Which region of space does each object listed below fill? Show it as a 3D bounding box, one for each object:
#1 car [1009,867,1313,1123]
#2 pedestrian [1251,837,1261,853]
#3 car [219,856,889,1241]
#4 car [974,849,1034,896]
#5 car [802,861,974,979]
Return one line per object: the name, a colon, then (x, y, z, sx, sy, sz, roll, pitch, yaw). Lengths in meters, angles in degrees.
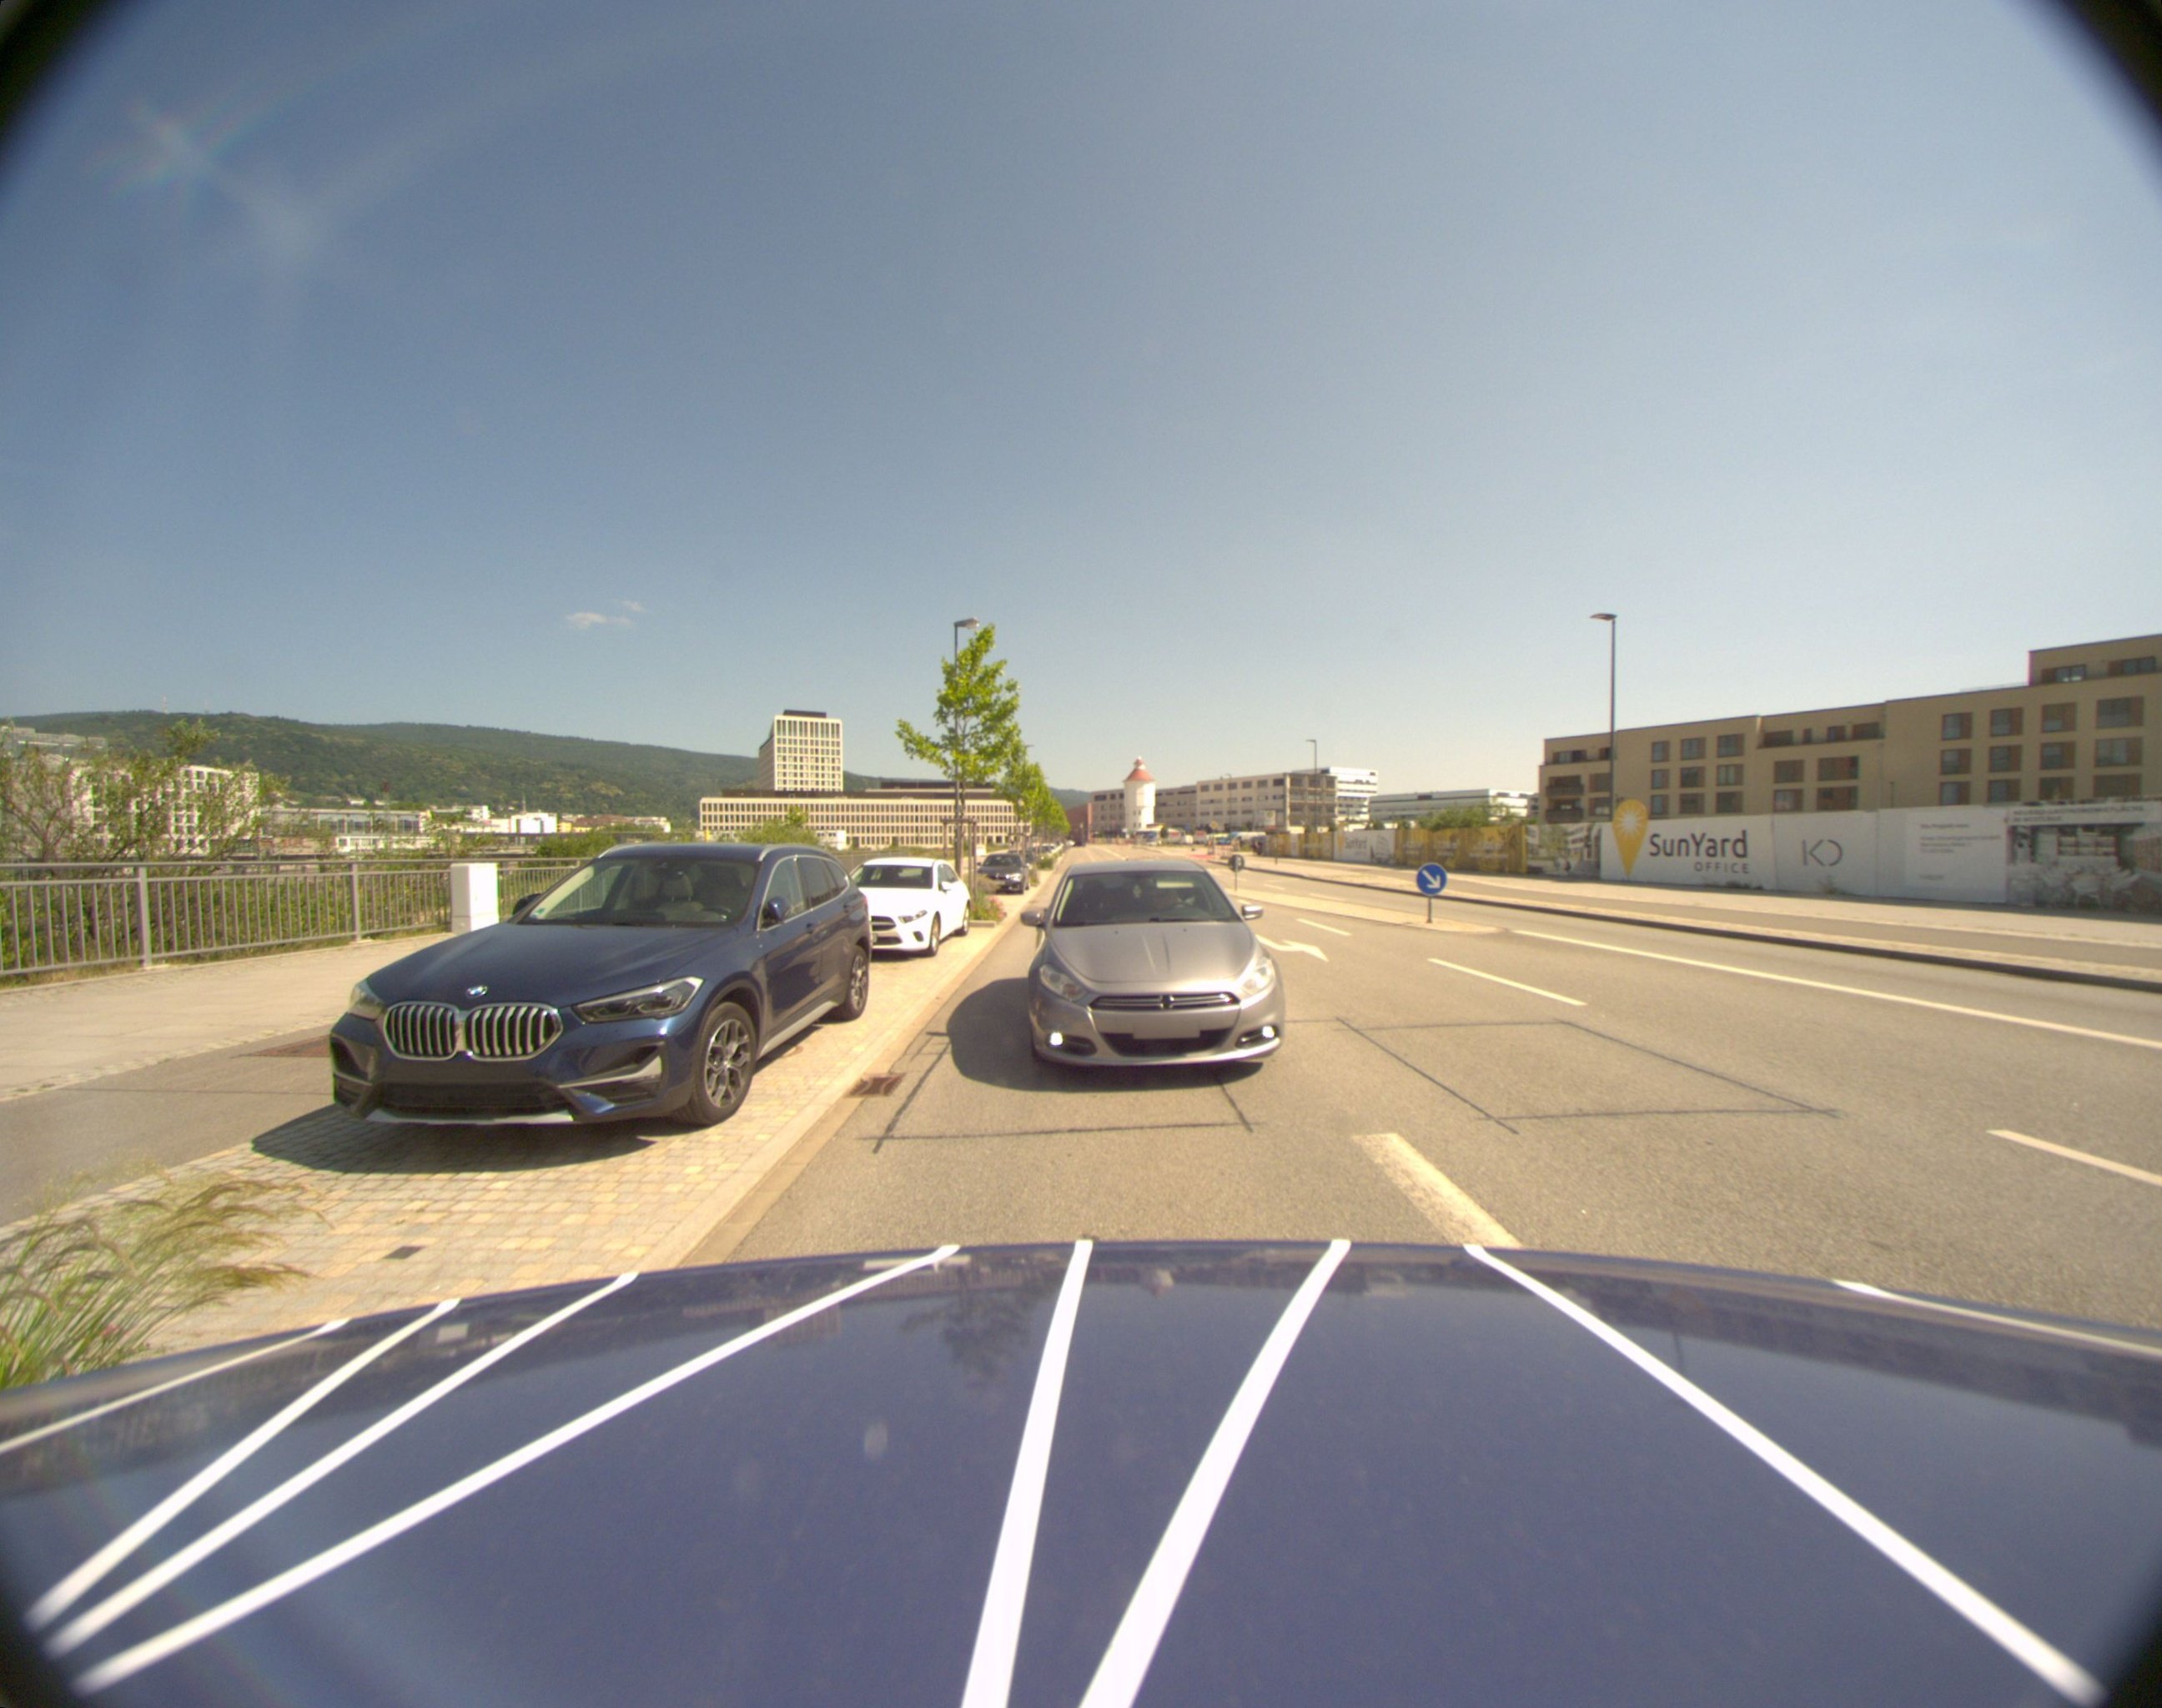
car: (0.513, 0.886, 6.654, 1.784, 1.372, 4.135, -2, 1, 1)
pedestrian: (17.841, -0.916, 77.422, 0.705, 1.577, 0.617, -3, 1, -36)
car: (-2.866, 0.874, 5.487, 1.769, 1.598, 4.238, -2, 1, 1)
car: (-2.755, 0.636, 27.979, 1.664, 1.529, 3.999, -2, 1, 1)
car: (-2.891, 0.918, 12.290, 1.664, 1.447, 3.999, -2, 1, 1)
